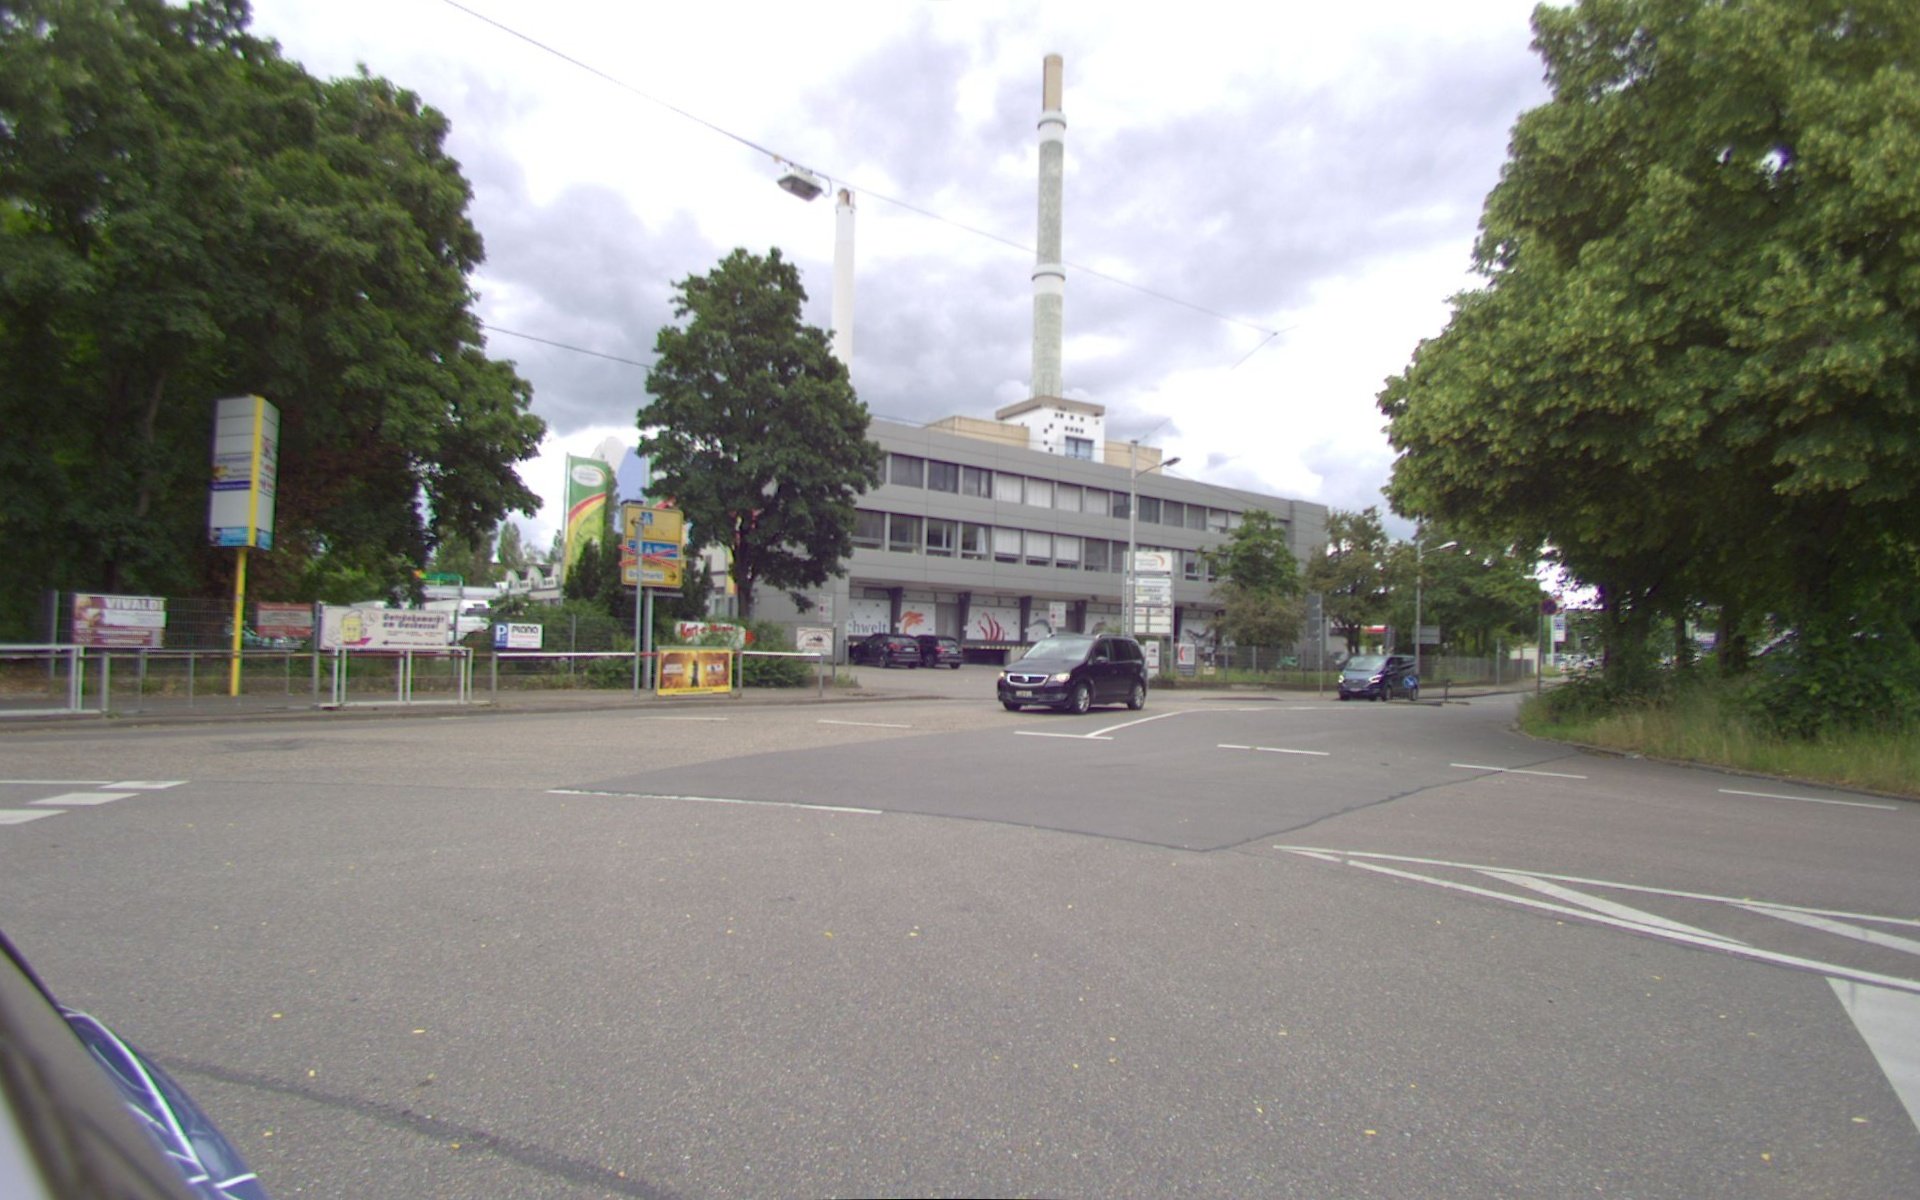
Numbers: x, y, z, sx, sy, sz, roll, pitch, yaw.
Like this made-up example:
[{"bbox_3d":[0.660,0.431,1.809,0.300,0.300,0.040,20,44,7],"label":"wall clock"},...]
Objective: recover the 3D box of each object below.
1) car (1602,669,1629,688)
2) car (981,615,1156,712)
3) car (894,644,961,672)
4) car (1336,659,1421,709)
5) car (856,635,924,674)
[{"bbox_3d":[74.107,8.843,114.368,1.833,1.960,4.505,-2,-4,42],"label":"car"},{"bbox_3d":[2.356,1.359,20.947,1.828,1.785,4.180,-1,-5,34],"label":"car"},{"bbox_3d":[-1.698,2.945,51.771,1.748,1.187,3.582,-1,1,-35],"label":"car"},{"bbox_3d":[17.783,3.502,42.876,1.833,1.960,4.735,-2,-4,42],"label":"car"},{"bbox_3d":[-3.492,2.666,50.063,1.748,1.691,3.582,-1,1,-35],"label":"car"}]
